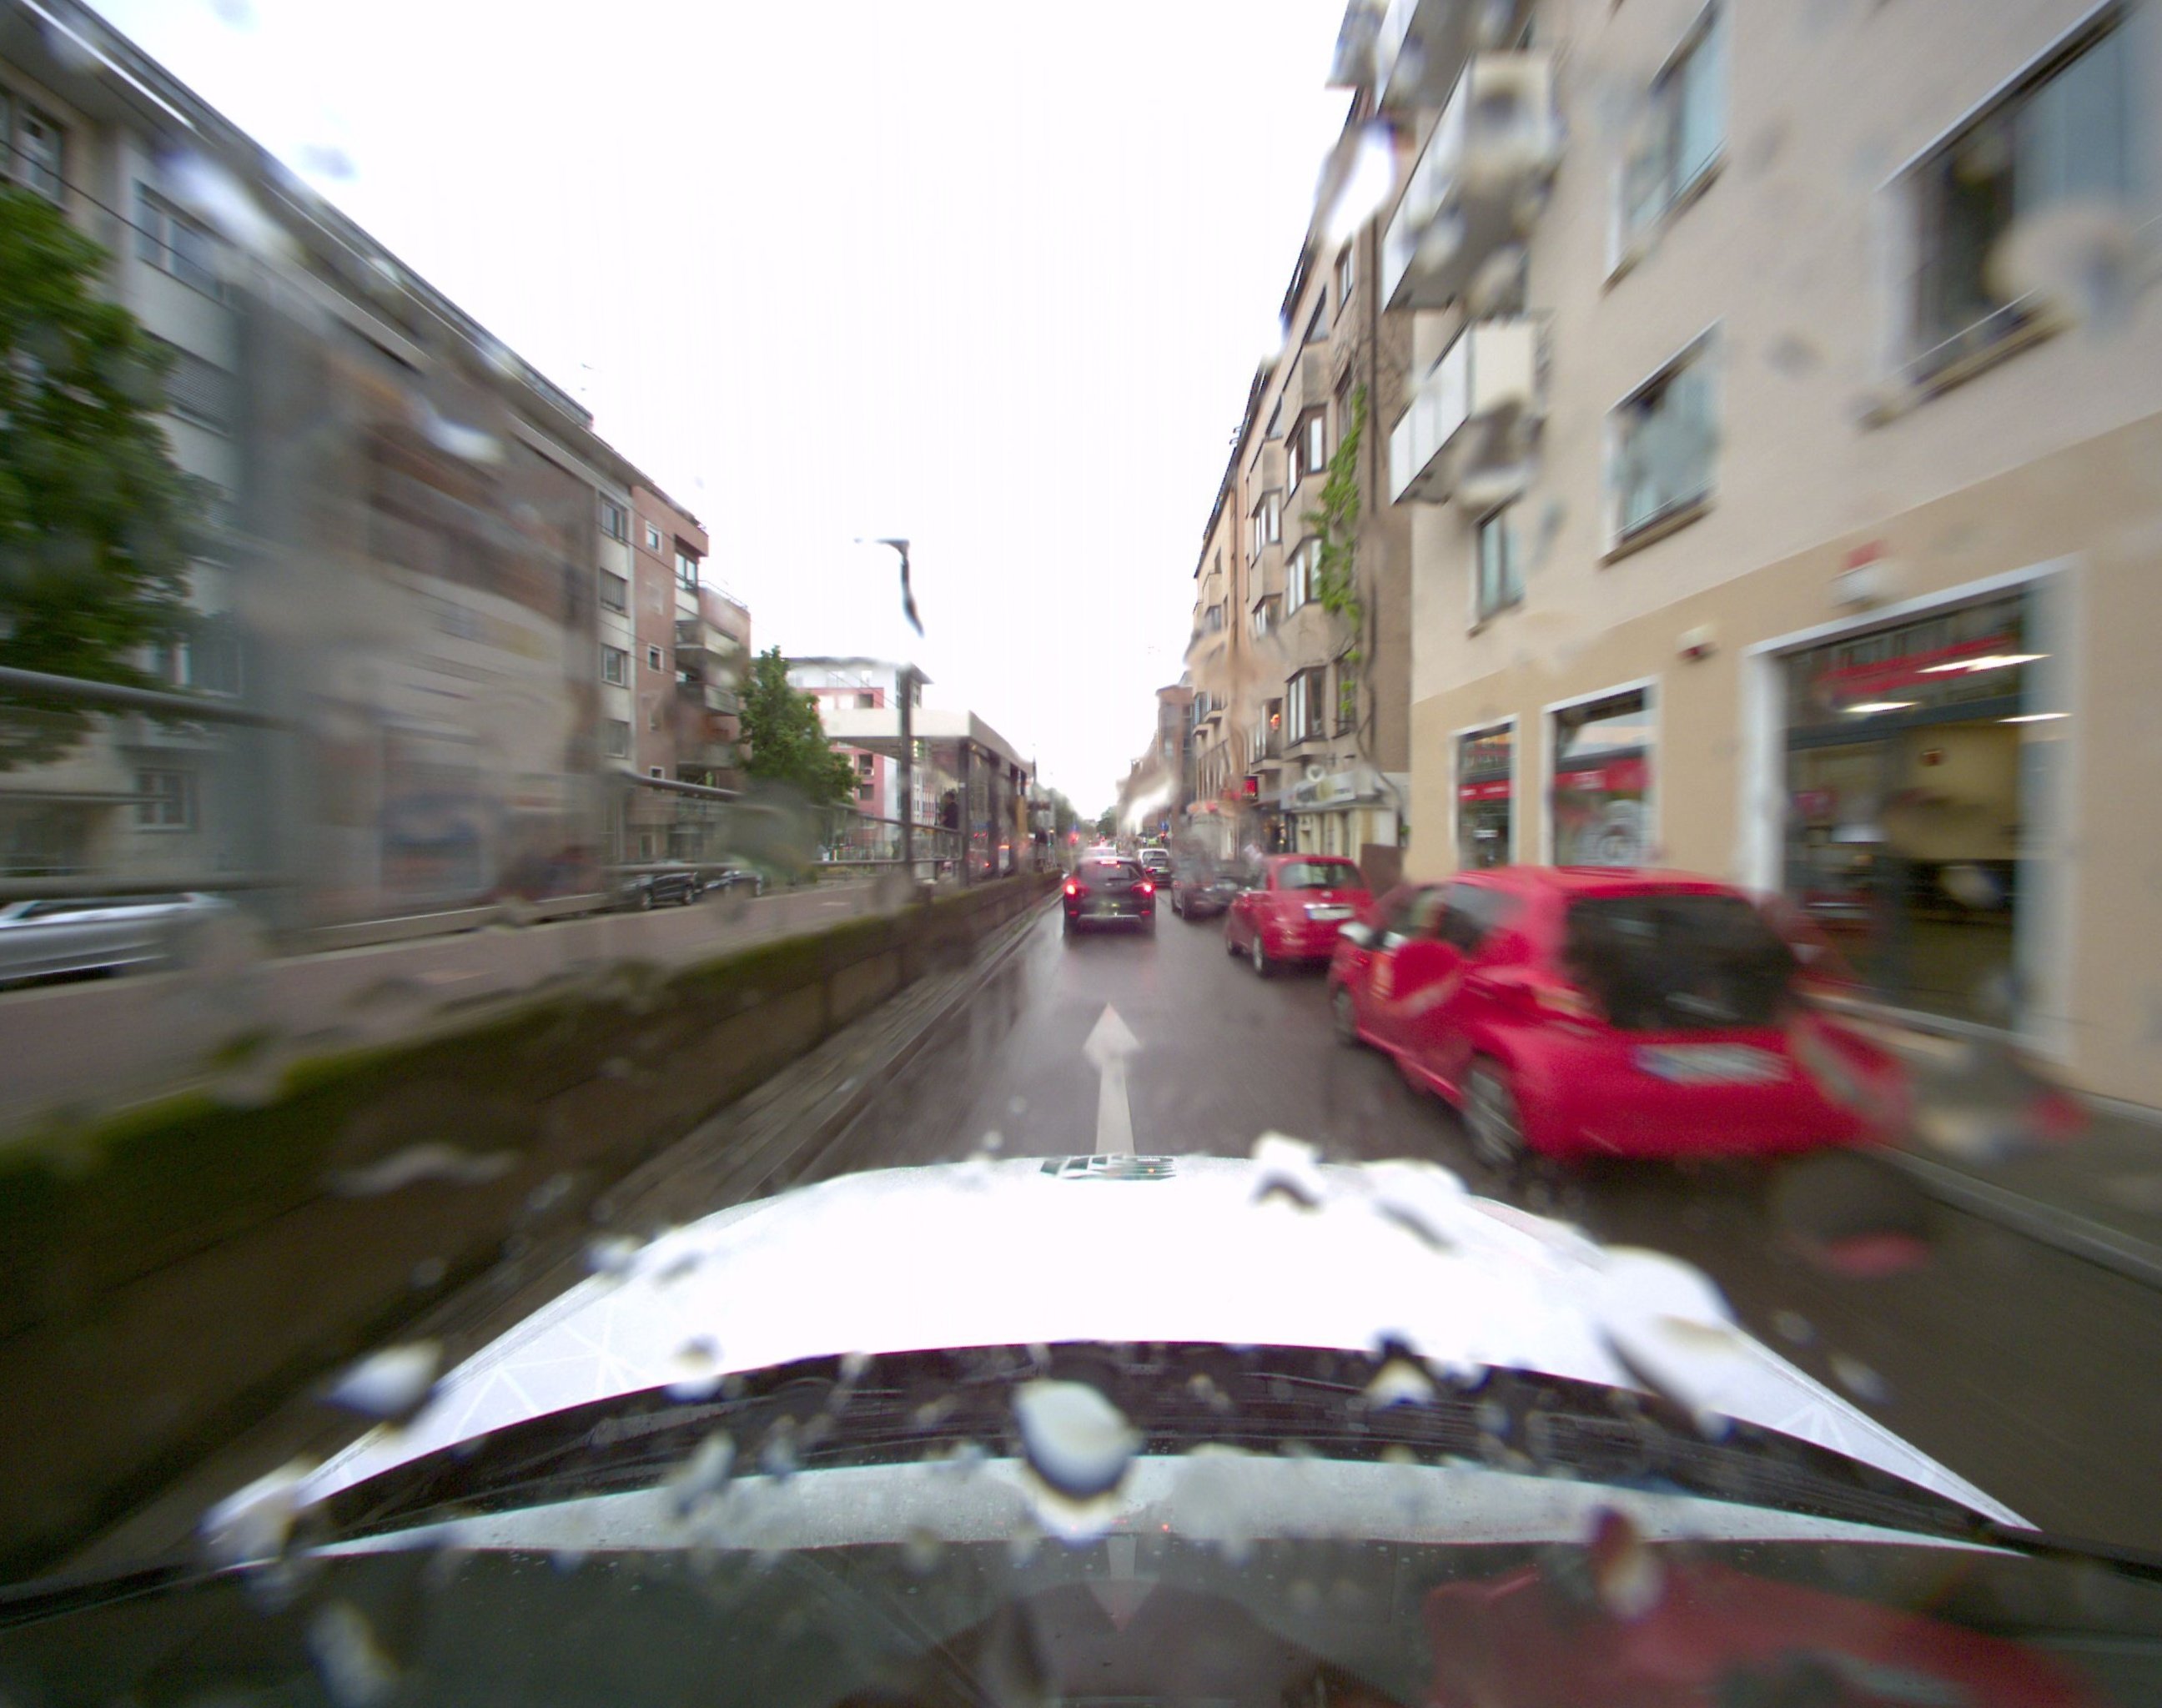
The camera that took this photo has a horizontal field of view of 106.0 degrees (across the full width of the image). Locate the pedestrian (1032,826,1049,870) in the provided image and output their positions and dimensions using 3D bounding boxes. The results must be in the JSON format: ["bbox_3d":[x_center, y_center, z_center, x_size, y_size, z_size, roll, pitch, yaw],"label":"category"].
[{"bbox_3d":[-1.471,-0.215,29.671,0.581,1.557,0.701,-2,0,-1],"label":"pedestrian"}]

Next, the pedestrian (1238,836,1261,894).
[{"bbox_3d":[5.499,0.366,26.615,0.528,1.858,0.555,-1,-1,-6],"label":"pedestrian"}]

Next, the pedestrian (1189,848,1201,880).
[{"bbox_3d":[6.056,0.523,43.353,0.573,1.714,0.477,-2,-1,2],"label":"pedestrian"}]

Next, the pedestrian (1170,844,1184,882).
[{"bbox_3d":[5.067,0.465,43.004,0.649,1.948,0.534,-2,-1,2],"label":"pedestrian"}]

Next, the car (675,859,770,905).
[{"bbox_3d":[-13.956,1.041,31.989,1.632,1.624,4.373,-1,0,2],"label":"car"}]

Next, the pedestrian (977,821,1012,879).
[{"bbox_3d":[-2.008,-0.088,18.991,0.725,1.302,0.701,-2,0,-1],"label":"pedestrian"}]

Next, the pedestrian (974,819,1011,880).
[{"bbox_3d":[-1.949,-0.093,17.998,0.725,1.302,0.701,-2,0,-1],"label":"pedestrian"}]

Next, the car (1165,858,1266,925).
[{"bbox_3d":[3.238,0.855,20.410,1.900,1.462,4.246,-1,0,1],"label":"car"}]

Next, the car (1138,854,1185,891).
[{"bbox_3d":[3.686,0.813,38.121,1.899,1.615,4.415,-1,0,2],"label":"car"}]

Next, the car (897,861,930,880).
[{"bbox_3d":[-12.217,1.186,59.623,1.634,1.338,3.733,-1,0,-1],"label":"car"}]

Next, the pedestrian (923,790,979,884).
[{"bbox_3d":[-2.461,-0.312,15.532,0.914,1.724,0.701,-2,0,-1],"label":"pedestrian"}]

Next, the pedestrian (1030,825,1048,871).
[{"bbox_3d":[-1.485,-0.217,28.964,0.581,1.609,0.701,-2,0,-1],"label":"pedestrian"}]

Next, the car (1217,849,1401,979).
[{"bbox_3d":[2.914,0.698,11.088,1.639,1.462,3.415,-1,0,2],"label":"car"}]

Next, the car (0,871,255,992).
[{"bbox_3d":[-14.348,1.013,11.063,1.687,1.462,4.528,-1,0,-1],"label":"car"}]

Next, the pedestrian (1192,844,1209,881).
[{"bbox_3d":[6.094,0.440,41.462,0.753,1.819,0.588,-2,-1,2],"label":"pedestrian"}]

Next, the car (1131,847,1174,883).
[{"bbox_3d":[3.793,0.557,43.920,1.900,1.806,4.776,-1,0,0],"label":"car"}]

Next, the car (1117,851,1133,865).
[{"bbox_3d":[5.021,0.422,92.746,1.691,1.479,3.870,-3,0,3],"label":"car"}]

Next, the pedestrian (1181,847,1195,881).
[{"bbox_3d":[5.514,0.521,41.969,0.608,1.714,0.581,-2,-1,3],"label":"pedestrian"}]

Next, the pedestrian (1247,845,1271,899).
[{"bbox_3d":[5.665,0.573,25.927,0.544,1.680,0.594,-1,-1,-6],"label":"pedestrian"}]

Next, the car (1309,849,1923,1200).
[{"bbox_3d":[2.742,0.730,5.173,1.710,1.462,3.446,-1,0,2],"label":"car"}]

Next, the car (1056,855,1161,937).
[{"bbox_3d":[0.561,0.773,16.628,1.899,1.462,3.446,-1,0,2],"label":"car"}]

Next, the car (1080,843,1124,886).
[{"bbox_3d":[1.026,0.468,38.583,1.899,1.864,4.576,-1,0,2],"label":"car"}]

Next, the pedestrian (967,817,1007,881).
[{"bbox_3d":[-1.972,-0.109,17.209,0.725,1.302,0.701,-2,0,1],"label":"pedestrian"}]

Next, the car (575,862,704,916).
[{"bbox_3d":[-14.157,1.057,26.421,1.632,1.536,4.373,-1,0,2],"label":"car"}]

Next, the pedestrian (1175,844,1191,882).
[{"bbox_3d":[5.183,0.451,41.354,0.692,1.855,0.653,-2,-1,2],"label":"pedestrian"}]

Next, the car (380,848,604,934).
[{"bbox_3d":[-14.337,0.815,20.331,1.902,1.844,5.253,-1,0,-2],"label":"car"}]
